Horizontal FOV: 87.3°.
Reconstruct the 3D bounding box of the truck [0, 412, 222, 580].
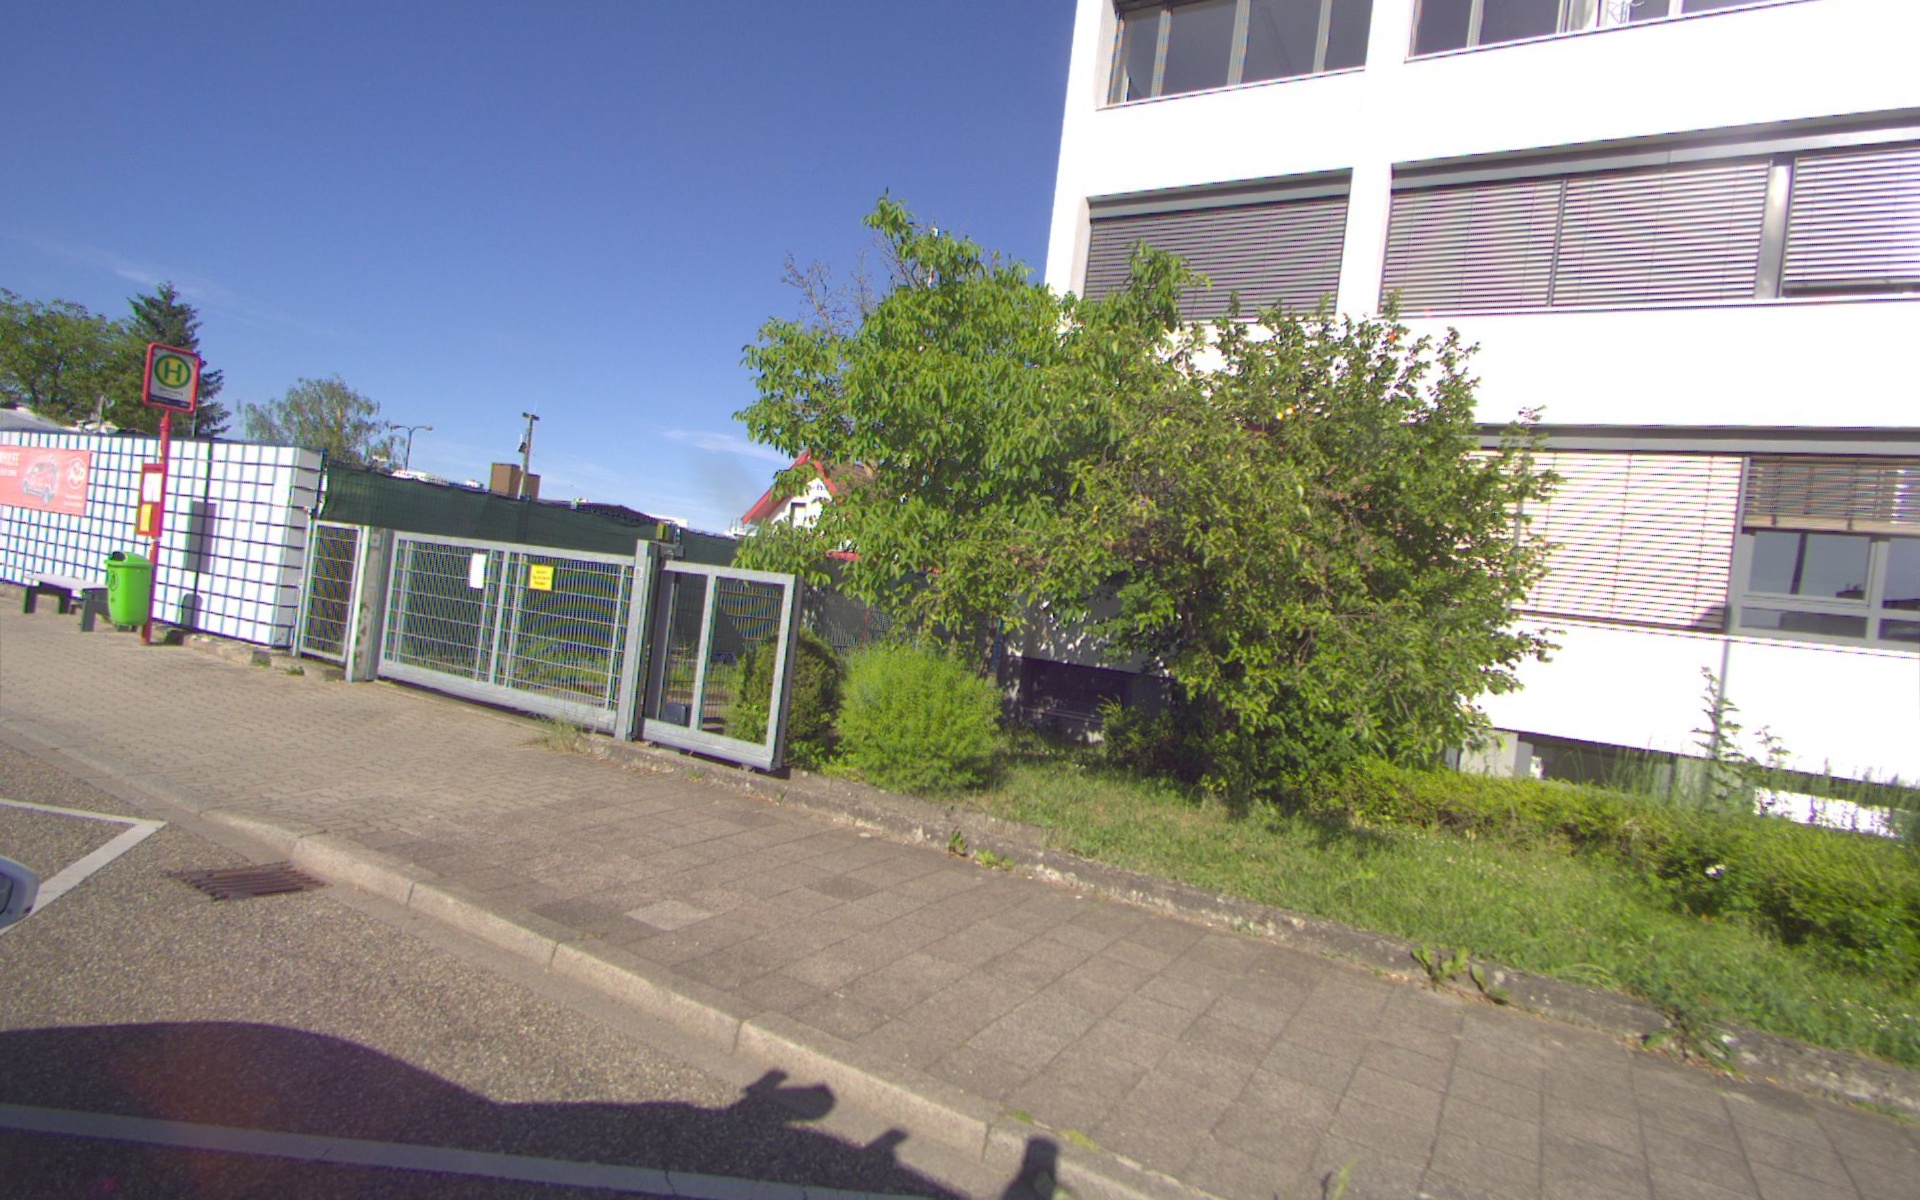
[{"bbox_3d":[-25.392,-2.931,27.748,2.783,3.815,7.394,7,-1,27],"label":"truck"}]
